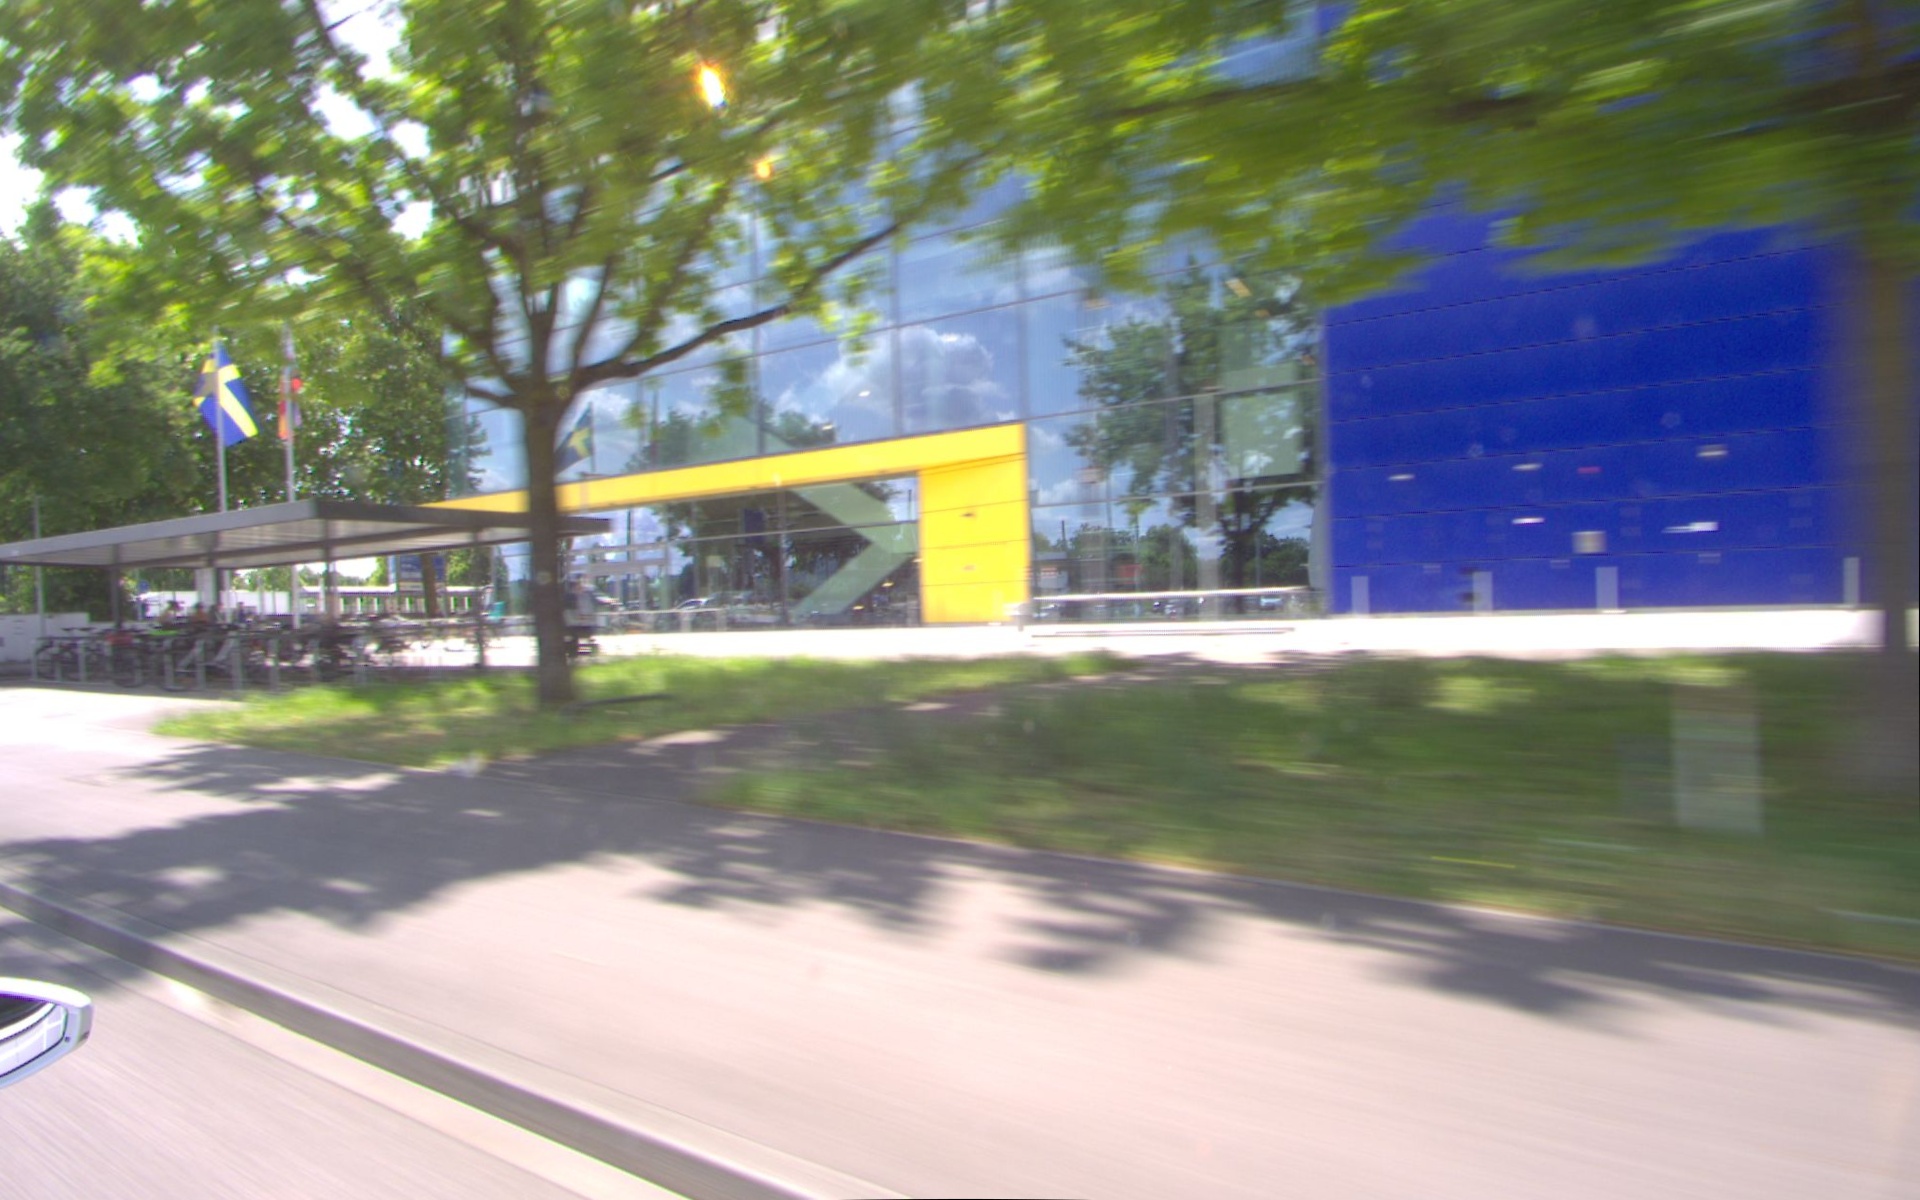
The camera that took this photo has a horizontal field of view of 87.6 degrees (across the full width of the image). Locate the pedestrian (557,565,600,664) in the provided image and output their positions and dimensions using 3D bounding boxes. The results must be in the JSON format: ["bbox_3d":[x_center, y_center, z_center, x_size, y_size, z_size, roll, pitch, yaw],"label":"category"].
[{"bbox_3d":[-6.894,0.255,18.091,0.624,1.744,0.523,-3,1,-22],"label":"pedestrian"}]

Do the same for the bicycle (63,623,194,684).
[{"bbox_3d":[-15.707,0.984,18.972,0.417,1.008,1.860,0,2,27],"label":"bicycle"}]

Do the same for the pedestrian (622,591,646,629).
[{"bbox_3d":[-15.057,0.458,46.202,0.789,1.685,0.703,-2,0,2],"label":"pedestrian"}]

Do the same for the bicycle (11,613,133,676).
[{"bbox_3d":[-18.537,0.905,20.959,0.417,1.203,1.860,0,1,27],"label":"bicycle"}]

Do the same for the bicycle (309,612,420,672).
[{"bbox_3d":[-11.459,0.793,19.345,0.417,1.008,1.860,-2,2,27],"label":"bicycle"}]

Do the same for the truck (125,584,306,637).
[{"bbox_3d":[-61.994,0.803,83.892,2.910,4.159,11.933,0,0,32],"label":"truck"}]

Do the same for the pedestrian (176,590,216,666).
[{"bbox_3d":[-17.226,0.613,22.571,0.471,1.685,0.543,0,2,30],"label":"pedestrian"}]

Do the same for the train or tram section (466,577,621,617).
[{"bbox_3d":[-36.883,-0.209,89.657,3.000,3.228,14.041,-1,-1,28],"label":"train or tram section"}]

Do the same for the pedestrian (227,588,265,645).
[{"bbox_3d":[-26.788,0.617,37.559,1.000,2.099,0.965,-2,1,-44],"label":"pedestrian"}]

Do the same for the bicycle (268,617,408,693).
[{"bbox_3d":[-9.604,0.824,15.548,0.417,1.008,1.859,0,3,27],"label":"bicycle"}]

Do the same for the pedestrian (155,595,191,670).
[{"bbox_3d":[-18.097,0.728,23.032,0.540,1.685,0.541,1,2,43],"label":"pedestrian"}]

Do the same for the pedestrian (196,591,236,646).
[{"bbox_3d":[-26.985,0.673,36.336,1.001,1.927,0.965,-2,0,-44],"label":"pedestrian"}]

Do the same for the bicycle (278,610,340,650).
[{"bbox_3d":[-20.298,0.919,31.253,0.453,1.173,1.678,-1,1,17],"label":"bicycle"}]

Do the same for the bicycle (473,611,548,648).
[{"bbox_3d":[-11.951,0.764,26.664,0.464,0.894,1.857,0,2,32],"label":"bicycle"}]

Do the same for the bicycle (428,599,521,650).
[{"bbox_3d":[-13.078,0.638,27.021,0.713,1.246,2.128,0,2,41],"label":"bicycle"}]

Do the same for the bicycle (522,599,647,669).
[{"bbox_3d":[-6.617,0.581,17.724,1.980,1.123,0.575,-3,2,-21],"label":"bicycle"}]

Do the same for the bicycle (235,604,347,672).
[{"bbox_3d":[-13.408,0.735,20.129,0.417,1.248,1.860,0,2,27],"label":"bicycle"}]

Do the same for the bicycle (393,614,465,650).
[{"bbox_3d":[-15.026,0.890,28.373,0.417,0.894,1.860,-1,2,27],"label":"bicycle"}]

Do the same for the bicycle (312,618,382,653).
[{"bbox_3d":[-18.904,1.080,30.906,0.457,1.008,1.860,0,1,27],"label":"bicycle"}]

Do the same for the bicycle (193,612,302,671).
[{"bbox_3d":[-14.977,0.850,21.105,0.417,1.131,1.860,-1,1,27],"label":"bicycle"}]

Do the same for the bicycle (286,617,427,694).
[{"bbox_3d":[-9.178,0.812,15.319,0.417,1.008,1.859,0,2,27],"label":"bicycle"}]

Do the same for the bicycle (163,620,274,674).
[{"bbox_3d":[-15.669,0.975,21.219,0.417,1.008,1.860,0,2,27],"label":"bicycle"}]

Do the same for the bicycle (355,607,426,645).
[{"bbox_3d":[-16.979,0.763,29.908,0.417,1.008,1.860,-2,1,27],"label":"bicycle"}]

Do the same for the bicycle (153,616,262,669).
[{"bbox_3d":[-16.574,0.920,22.108,0.418,1.048,1.857,0,1,33],"label":"bicycle"}]

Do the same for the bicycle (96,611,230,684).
[{"bbox_3d":[-14.487,0.838,18.264,0.417,1.204,1.860,0,2,27],"label":"bicycle"}]

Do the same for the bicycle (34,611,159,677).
[{"bbox_3d":[-17.434,0.871,20.274,0.417,1.204,1.860,0,2,27],"label":"bicycle"}]

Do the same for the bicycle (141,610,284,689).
[{"bbox_3d":[-12.666,0.811,17.035,0.418,1.186,1.891,0,2,33],"label":"bicycle"}]

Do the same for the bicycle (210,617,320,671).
[{"bbox_3d":[-14.406,0.894,20.812,0.417,1.008,1.860,-2,0,27],"label":"bicycle"}]

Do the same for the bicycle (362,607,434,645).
[{"bbox_3d":[-16.162,0.725,28.845,0.417,1.008,1.860,-1,1,27],"label":"bicycle"}]

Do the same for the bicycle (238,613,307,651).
[{"bbox_3d":[-22.202,1.029,32.373,0.495,1.122,1.923,-3,1,14],"label":"bicycle"}]

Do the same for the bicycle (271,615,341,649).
[{"bbox_3d":[-20.959,1.021,32.119,0.418,1.008,1.857,0,1,33],"label":"bicycle"}]
